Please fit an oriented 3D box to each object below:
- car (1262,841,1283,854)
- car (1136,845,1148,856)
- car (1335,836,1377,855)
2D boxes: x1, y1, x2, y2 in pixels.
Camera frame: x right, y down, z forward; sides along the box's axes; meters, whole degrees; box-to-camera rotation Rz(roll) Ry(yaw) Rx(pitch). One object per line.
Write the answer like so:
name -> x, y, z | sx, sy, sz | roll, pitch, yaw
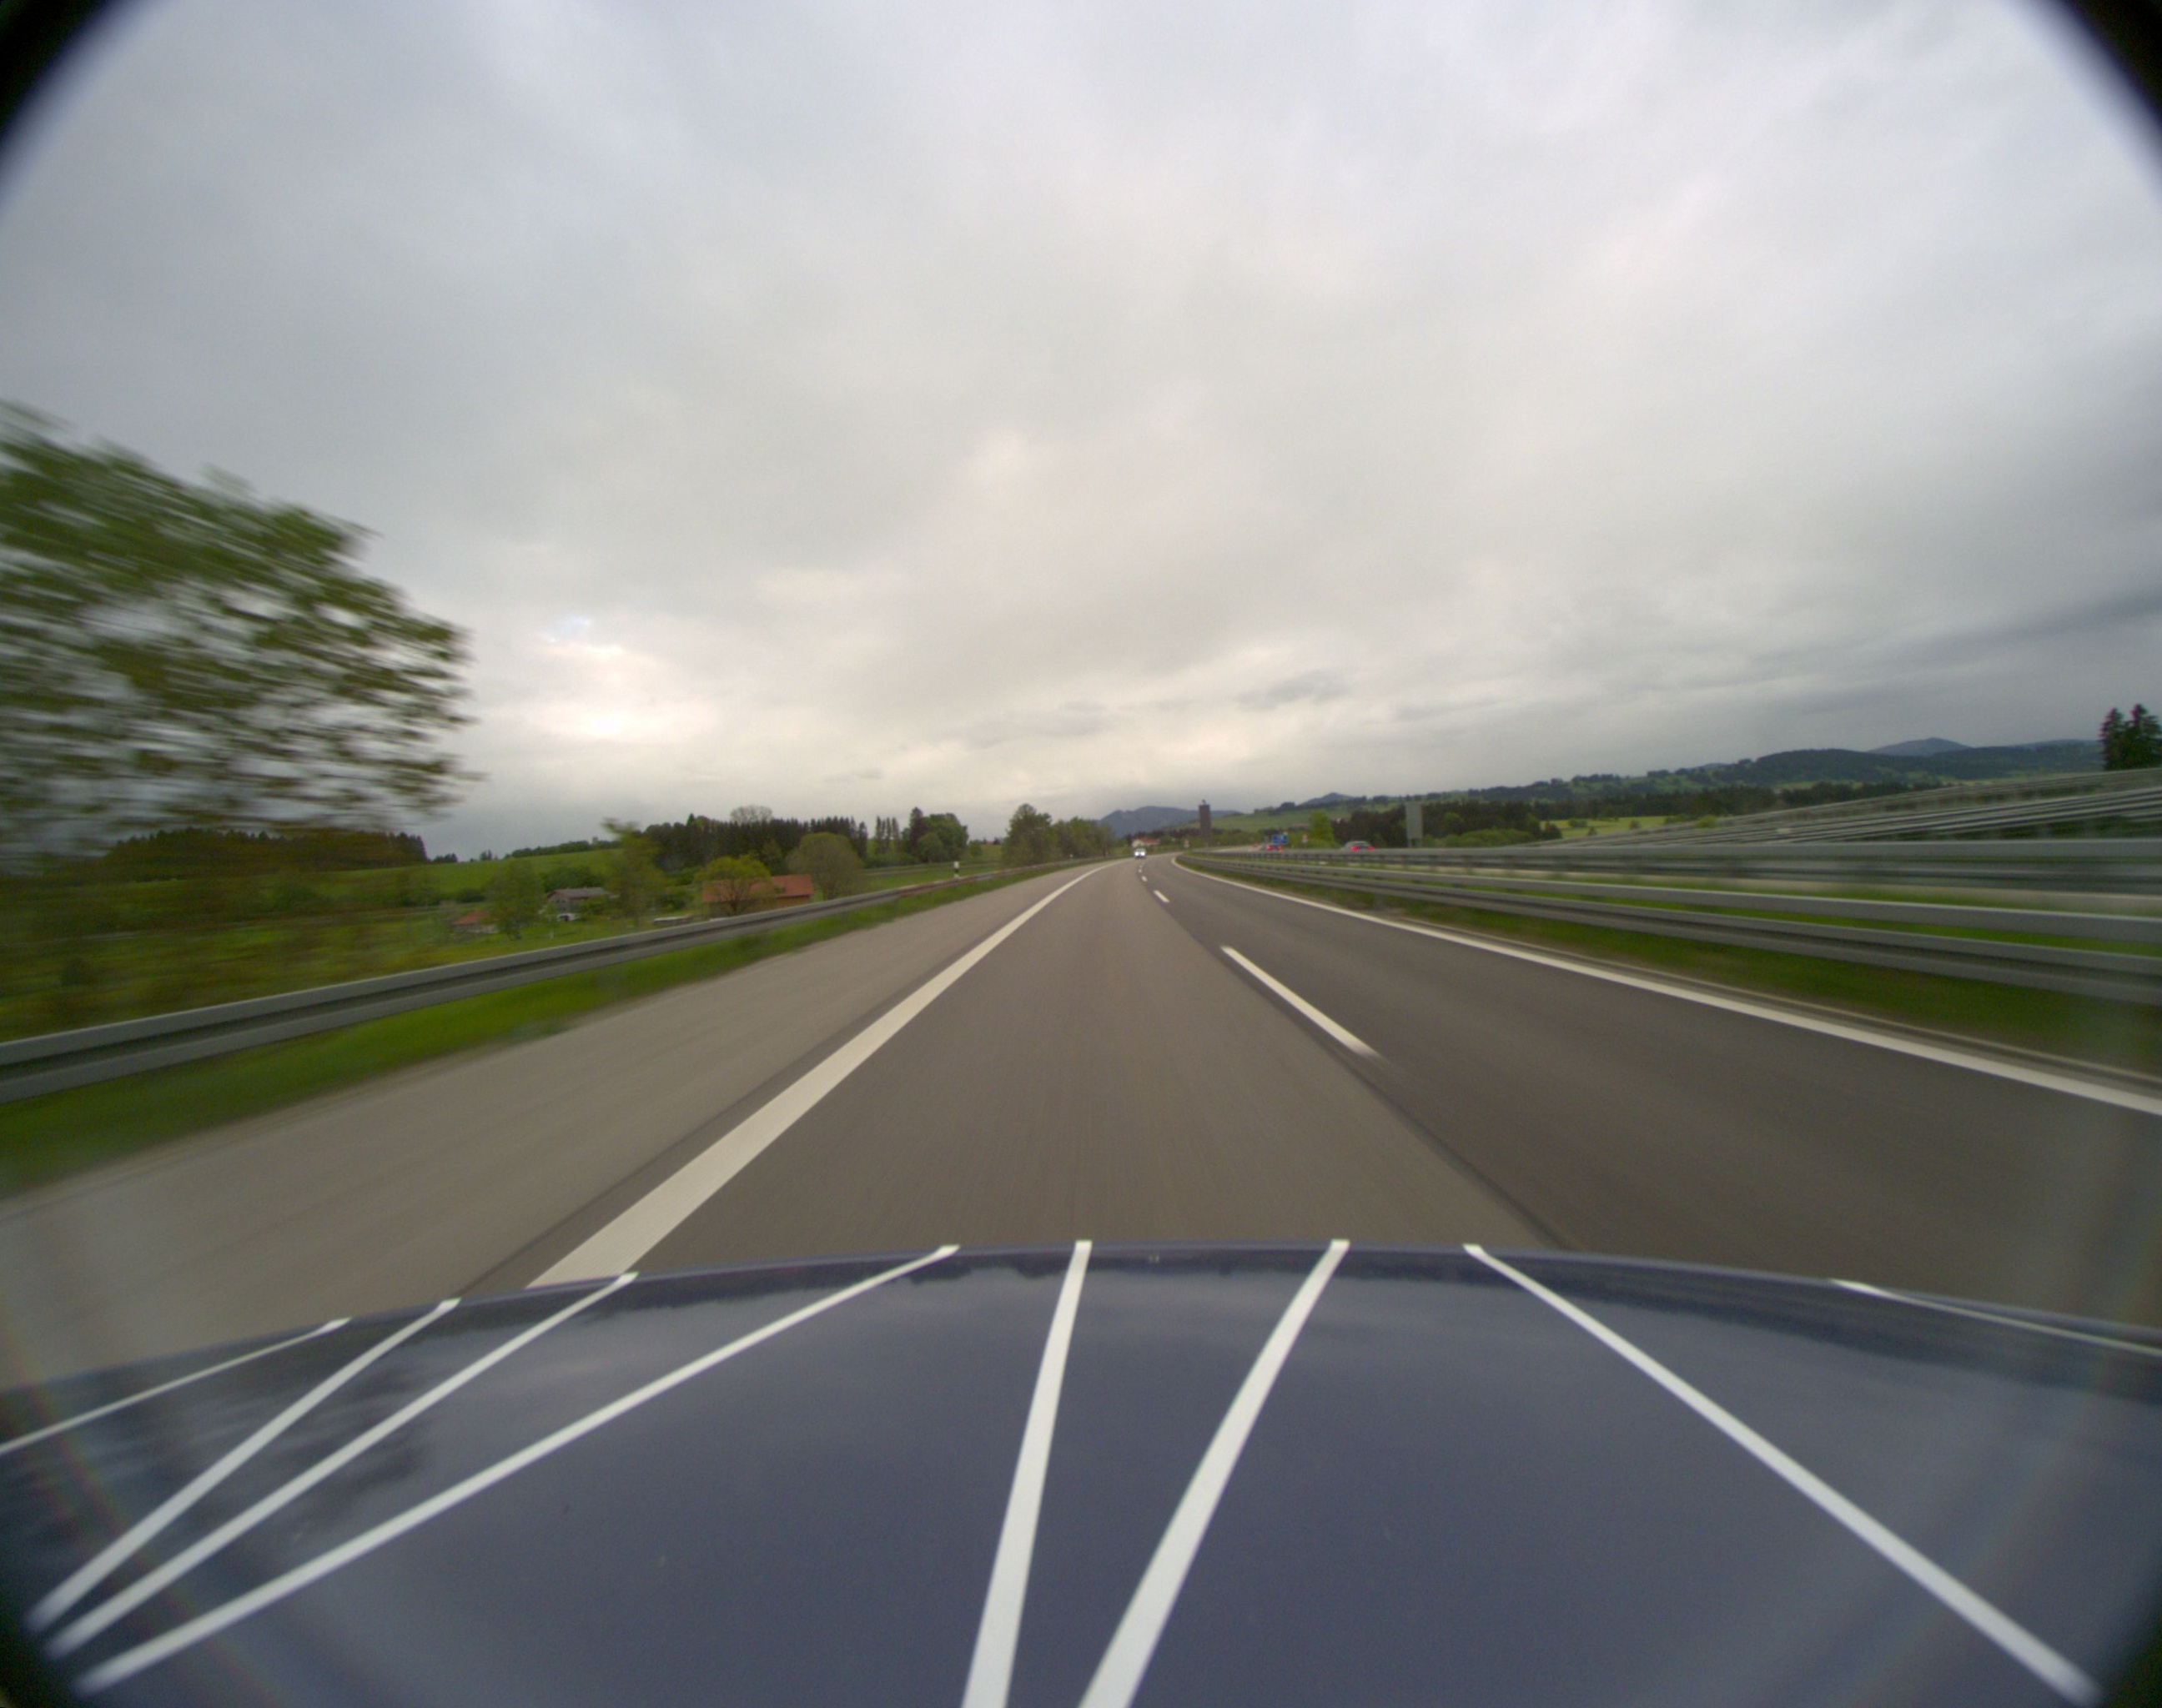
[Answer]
car -> 23.813, -0.860, 94.590 | 1.998, 1.409, 4.002 | -5, 0, 6
car -> 11.735, -0.656, 146.145 | 2.020, 1.899, 4.222 | -2, 0, 6
car -> 23.862, -0.735, 66.128 | 1.998, 1.431, 5.001 | -5, 0, 4
